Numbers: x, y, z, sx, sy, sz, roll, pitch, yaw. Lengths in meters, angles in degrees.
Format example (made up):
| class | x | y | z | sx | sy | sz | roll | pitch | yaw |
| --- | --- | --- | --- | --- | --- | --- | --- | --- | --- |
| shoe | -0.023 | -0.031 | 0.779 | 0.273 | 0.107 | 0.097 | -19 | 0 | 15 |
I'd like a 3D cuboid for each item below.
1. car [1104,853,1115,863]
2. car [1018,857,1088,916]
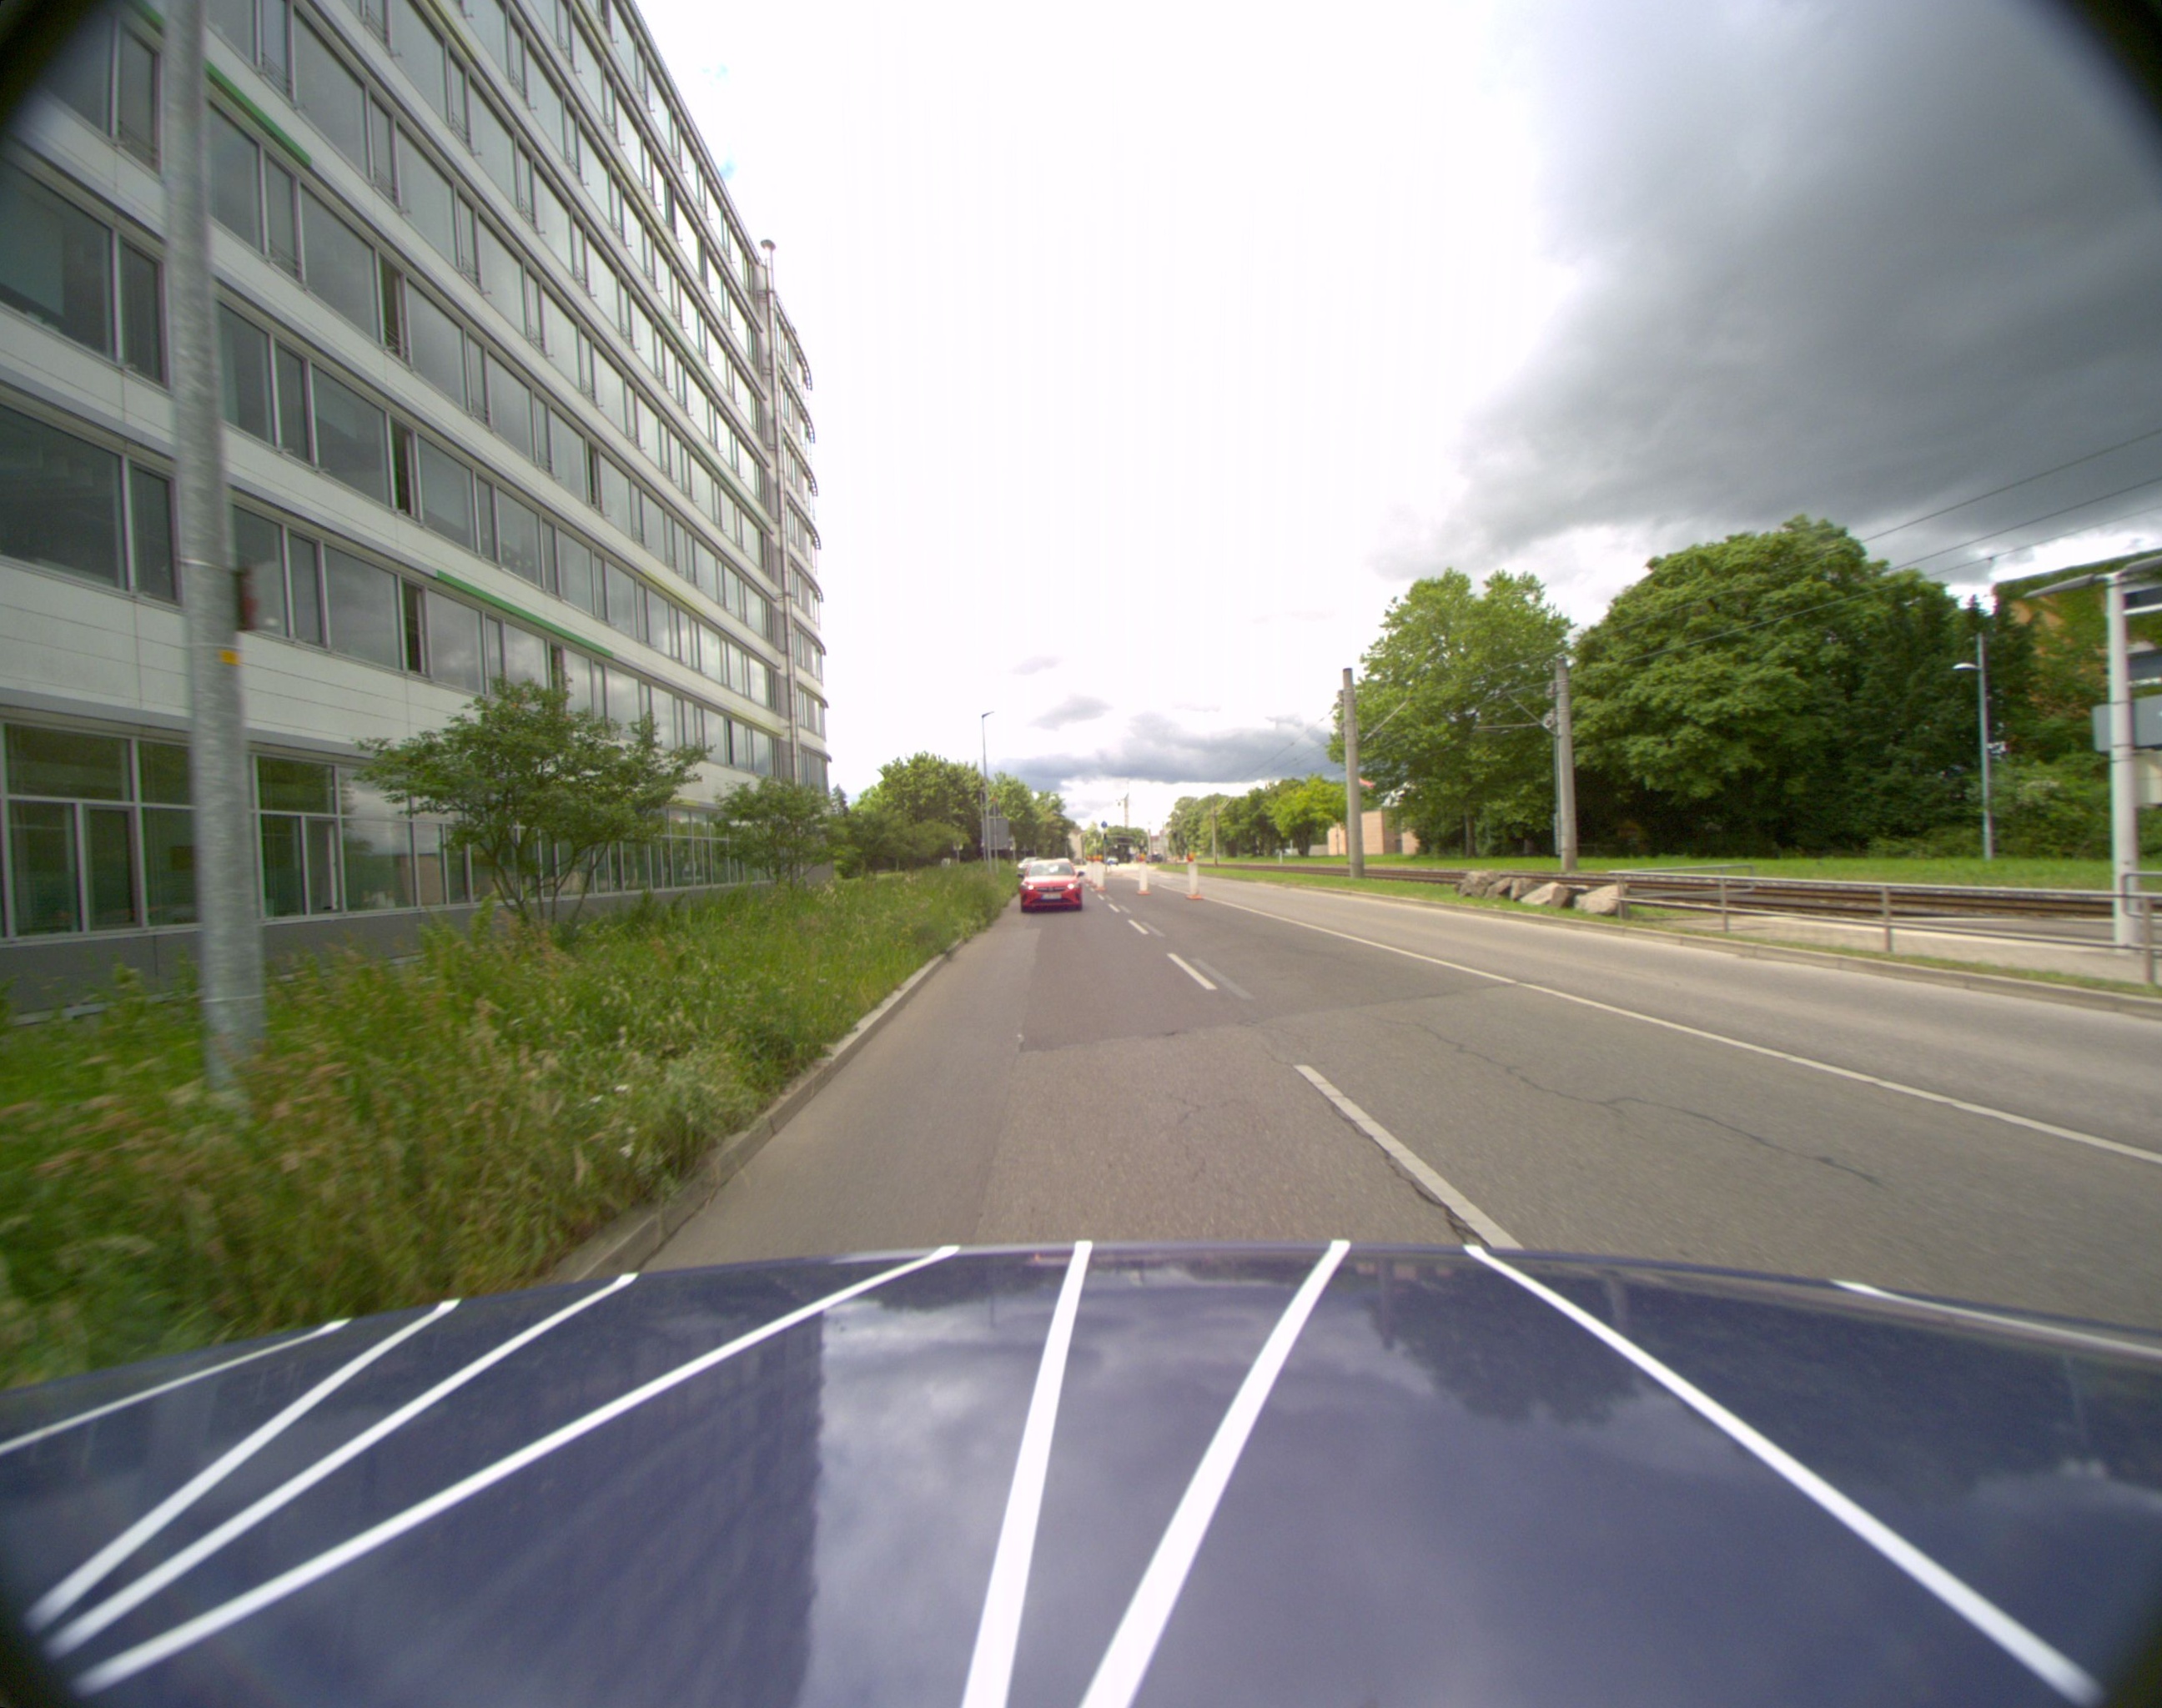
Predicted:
| class | x | y | z | sx | sy | sz | roll | pitch | yaw |
| --- | --- | --- | --- | --- | --- | --- | --- | --- | --- |
| car | 5.072 | 0.683 | 134.649 | 1.865 | 1.600 | 4.610 | -1 | -3 | 0 |
| car | -0.733 | 0.892 | 22.814 | 1.790 | 1.453 | 4.852 | -3 | 0 | 0 |
